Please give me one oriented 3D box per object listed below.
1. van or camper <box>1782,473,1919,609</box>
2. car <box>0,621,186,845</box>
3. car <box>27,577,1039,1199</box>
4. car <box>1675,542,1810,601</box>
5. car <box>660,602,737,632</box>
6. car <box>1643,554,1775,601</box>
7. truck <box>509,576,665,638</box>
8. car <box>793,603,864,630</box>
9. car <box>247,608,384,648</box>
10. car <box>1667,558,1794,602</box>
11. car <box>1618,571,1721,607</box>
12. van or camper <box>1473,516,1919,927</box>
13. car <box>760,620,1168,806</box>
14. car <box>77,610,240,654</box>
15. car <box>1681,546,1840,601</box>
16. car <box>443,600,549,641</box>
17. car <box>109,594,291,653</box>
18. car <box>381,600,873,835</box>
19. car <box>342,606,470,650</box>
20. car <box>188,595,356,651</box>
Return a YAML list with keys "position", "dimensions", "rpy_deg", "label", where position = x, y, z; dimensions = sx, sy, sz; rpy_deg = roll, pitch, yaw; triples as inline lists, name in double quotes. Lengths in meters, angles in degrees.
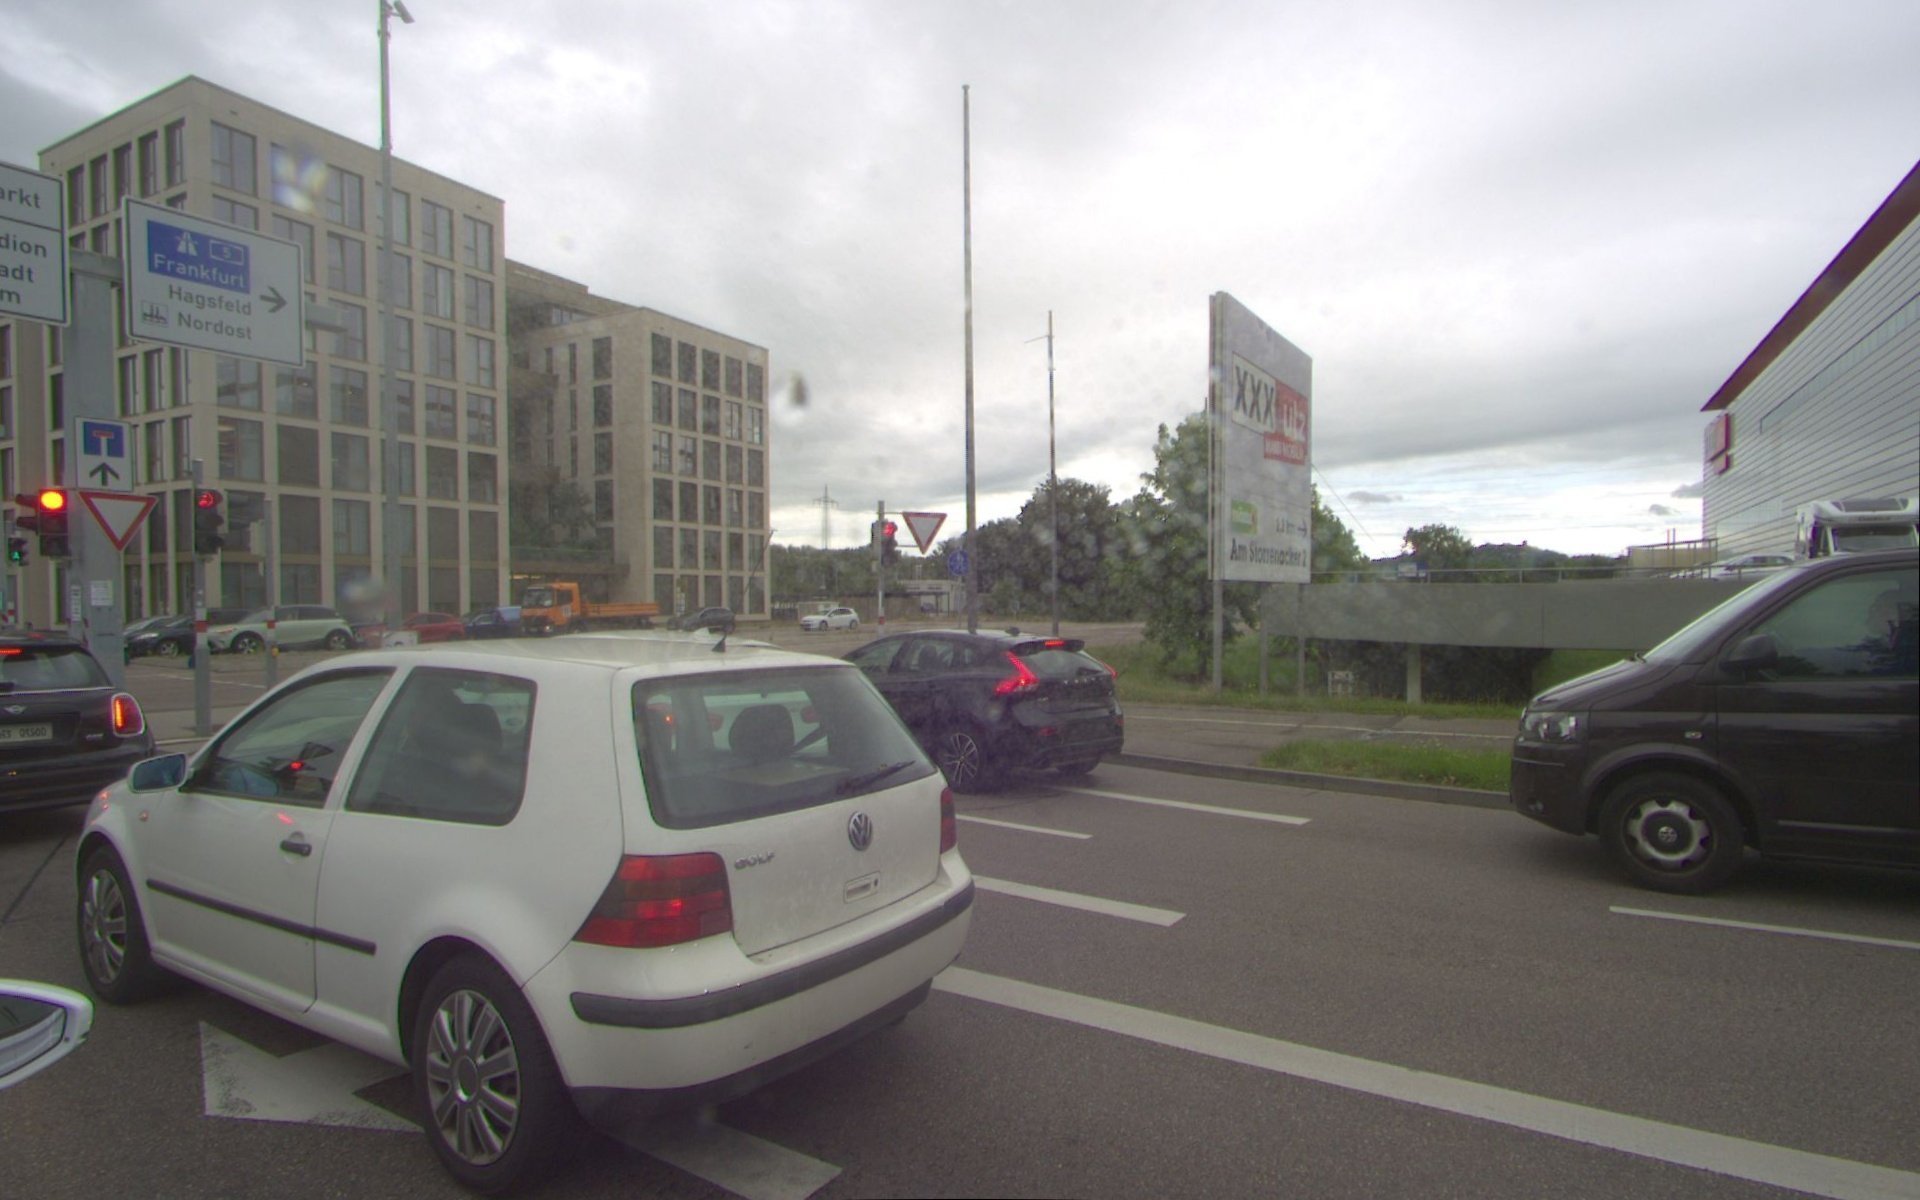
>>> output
- position: [25.389, -1.440, 28.040]
  dimensions: [2.676, 3.175, 7.201]
  rpy_deg: [-1, -2, 32]
  label: "van or camper"
- position: [-7.601, 0.894, 7.468]
  dimensions: [3.591, 1.433, 1.783]
  rpy_deg: [-1, -2, 32]
  label: "car"
- position: [-1.852, 0.768, 4.016]
  dimensions: [3.948, 1.496, 1.829]
  rpy_deg: [-1, -2, 32]
  label: "car"
- position: [30.185, -1.060, 38.804]
  dimensions: [3.945, 2.039, 1.989]
  rpy_deg: [-1, -2, 34]
  label: "car"
- position: [-15.076, 1.020, 57.871]
  dimensions: [1.972, 1.678, 4.098]
  rpy_deg: [-1, -2, 33]
  label: "car"
- position: [30.954, -0.884, 41.557]
  dimensions: [4.199, 1.697, 1.768]
  rpy_deg: [-1, -2, 32]
  label: "car"
- position: [-17.326, 0.434, 46.969]
  dimensions: [2.779, 2.672, 6.647]
  rpy_deg: [-1, -2, 30]
  label: "truck"
- position: [-8.605, 1.123, 65.758]
  dimensions: [1.979, 1.678, 4.323]
  rpy_deg: [-2, -2, 43]
  label: "car"
- position: [-25.204, 1.115, 39.307]
  dimensions: [1.843, 1.509, 4.134]
  rpy_deg: [-1, -2, 28]
  label: "car"
- position: [33.362, -0.816, 43.510]
  dimensions: [4.199, 1.697, 1.768]
  rpy_deg: [-1, -2, 32]
  label: "car"
- position: [36.372, -0.537, 51.491]
  dimensions: [4.199, 1.697, 1.768]
  rpy_deg: [-1, -2, 32]
  label: "car"
- position: [5.747, 0.622, 5.599]
  dimensions: [4.878, 2.039, 2.151]
  rpy_deg: [-2, -2, 35]
  label: "van or camper"
- position: [-0.146, 0.977, 10.135]
  dimensions: [1.885, 1.467, 4.144]
  rpy_deg: [1, -2, -41]
  label: "car"
- position: [-27.750, 1.118, 34.814]
  dimensions: [1.724, 1.450, 4.083]
  rpy_deg: [-1, -2, 28]
  label: "car"
- position: [28.405, -0.890, 35.711]
  dimensions: [4.199, 1.697, 1.768]
  rpy_deg: [-1, -2, 32]
  label: "car"
- position: [-21.476, 0.985, 46.459]
  dimensions: [1.969, 1.791, 4.134]
  rpy_deg: [-1, -2, 28]
  label: "car"
- position: [-24.996, 0.806, 33.115]
  dimensions: [1.969, 1.791, 4.405]
  rpy_deg: [-1, -2, 28]
  label: "car"
- position: [-2.833, 0.790, 8.101]
  dimensions: [4.146, 1.428, 1.822]
  rpy_deg: [-2, -2, 38]
  label: "car"
- position: [-21.629, 1.126, 39.234]
  dimensions: [1.970, 1.622, 3.984]
  rpy_deg: [-1, -2, 29]
  label: "car"
- position: [-21.885, 0.779, 32.027]
  dimensions: [1.875, 1.664, 4.055]
  rpy_deg: [-1, -2, 27]
  label: "car"
